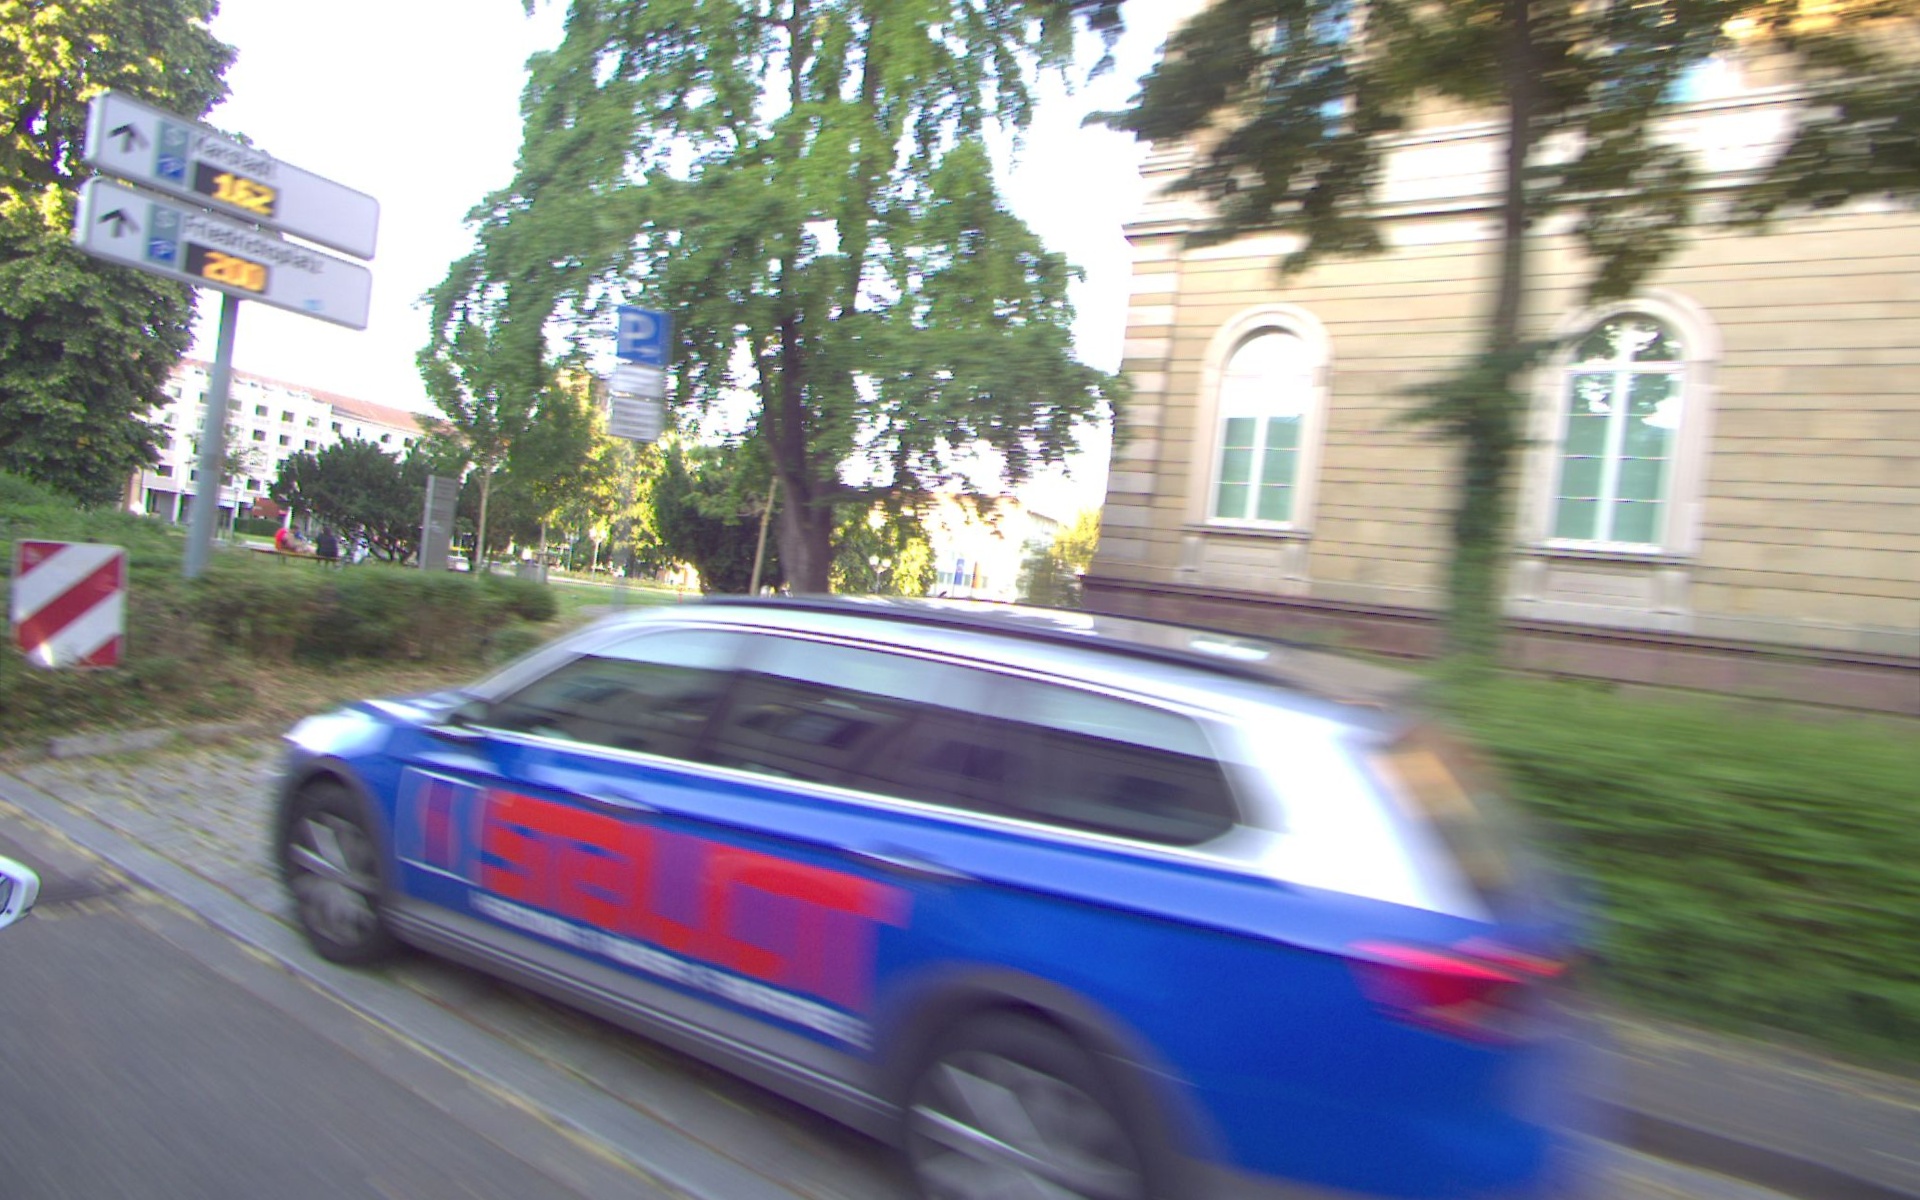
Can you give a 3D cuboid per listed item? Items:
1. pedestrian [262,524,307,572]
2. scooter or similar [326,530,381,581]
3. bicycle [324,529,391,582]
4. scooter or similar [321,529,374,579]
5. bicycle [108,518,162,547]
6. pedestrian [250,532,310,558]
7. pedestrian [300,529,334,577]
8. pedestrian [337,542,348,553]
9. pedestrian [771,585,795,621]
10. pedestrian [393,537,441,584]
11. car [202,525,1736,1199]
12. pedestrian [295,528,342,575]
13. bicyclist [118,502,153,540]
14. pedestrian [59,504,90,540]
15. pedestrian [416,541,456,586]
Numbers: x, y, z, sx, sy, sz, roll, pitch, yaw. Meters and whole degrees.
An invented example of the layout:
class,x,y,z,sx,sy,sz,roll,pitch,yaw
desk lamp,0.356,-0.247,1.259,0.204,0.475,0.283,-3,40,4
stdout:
class,x,y,z,sx,sy,sz,roll,pitch,yaw
pedestrian,-18.671,-1.428,27.800,0.735,1.206,0.722,7,1,34
scooter or similar,-16.591,-1.206,27.537,0.410,1.261,1.220,7,0,18
bicycle,-17.626,-1.310,29.427,1.983,1.316,0.620,7,1,27
scooter or similar,-17.026,-1.258,27.986,0.410,1.261,1.221,6,0,15
bicycle,-40.594,-3.303,49.512,0.585,1.135,1.933,7,-1,22
pedestrian,-18.242,-1.475,26.998,1.351,0.557,0.541,6,3,12
pedestrian,-17.430,-1.276,27.279,0.657,1.206,0.789,6,1,-31
pedestrian,-56.475,-4.826,91.952,0.609,0.936,0.512,6,1,6
pedestrian,-9.138,0.147,51.949,0.745,1.769,0.772,7,1,28
pedestrian,-17.495,-1.255,32.425,0.868,1.364,0.920,7,0,16
car,-0.450,0.703,3.412,4.532,1.509,1.724,7,3,30
pedestrian,-18.059,-1.358,28.323,0.777,1.206,0.807,7,0,34
bicyclist,-40.553,-3.882,49.495,0.585,1.653,1.064,7,0,22
pedestrian,-36.282,-3.183,41.235,0.804,1.358,0.598,7,0,26
pedestrian,-17.335,-1.191,33.288,0.773,1.364,0.761,6,1,15
